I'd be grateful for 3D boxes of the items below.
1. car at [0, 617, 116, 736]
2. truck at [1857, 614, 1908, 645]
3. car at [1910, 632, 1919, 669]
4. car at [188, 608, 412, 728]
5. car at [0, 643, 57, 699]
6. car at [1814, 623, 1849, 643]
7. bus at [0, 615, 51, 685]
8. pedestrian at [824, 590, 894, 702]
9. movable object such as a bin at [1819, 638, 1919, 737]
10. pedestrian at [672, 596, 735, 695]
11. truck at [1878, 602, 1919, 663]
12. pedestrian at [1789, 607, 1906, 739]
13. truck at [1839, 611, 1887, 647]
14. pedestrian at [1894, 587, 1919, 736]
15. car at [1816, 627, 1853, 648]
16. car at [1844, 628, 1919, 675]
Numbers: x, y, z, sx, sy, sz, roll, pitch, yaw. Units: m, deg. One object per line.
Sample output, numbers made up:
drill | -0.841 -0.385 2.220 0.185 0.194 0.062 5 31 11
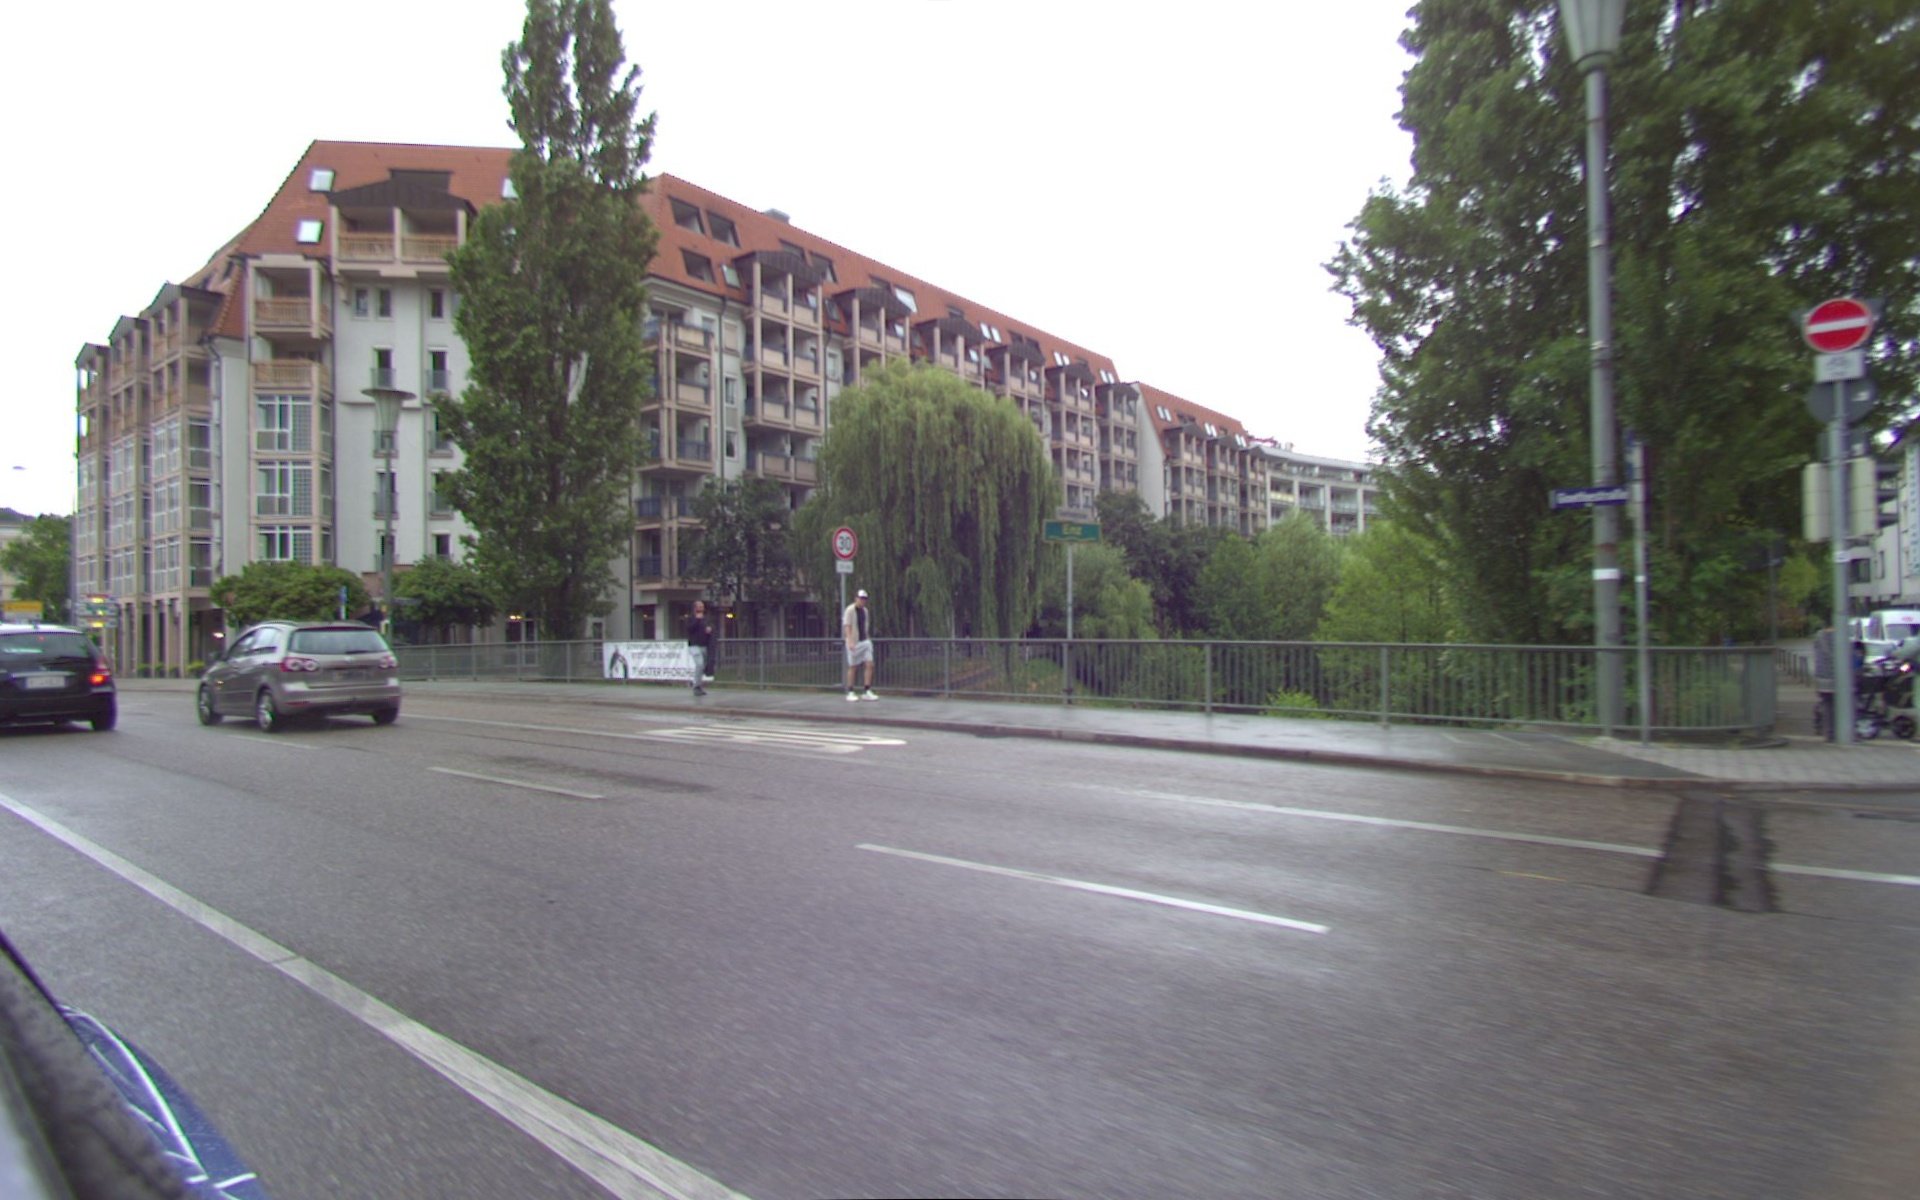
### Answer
car | -14.372 1.120 15.279 3.914 1.614 1.720 -2 -3 38
truck | 48.798 1.550 53.579 1.597 1.522 3.555 -2 -1 37
car | 41.423 2.126 42.490 1.897 1.398 3.948 -2 -1 39
car | -10.204 1.007 15.552 3.914 1.614 1.720 -2 -3 38
car | -28.171 2.037 29.515 4.811 1.521 1.819 -2 -2 37
car | 69.108 2.583 80.310 1.897 1.398 3.948 -2 -1 39
bus | -47.718 2.601 49.433 12.218 3.099 2.718 -4 -6 38
pedestrian | -1.692 0.752 16.971 0.812 1.807 0.789 -2 -1 40
movable object such as a bin | 11.099 1.036 12.161 0.786 1.120 0.886 1 -1 -11
pedestrian | -4.887 0.854 19.252 0.957 1.807 0.691 -2 -1 39
truck | 44.444 1.475 47.083 2.103 2.648 4.601 -2 -1 37
pedestrian | 10.184 0.811 11.630 0.643 1.456 0.802 1 -1 -23
truck | 55.667 1.772 62.459 1.897 2.001 5.313 -2 -1 39
pedestrian | 11.227 0.698 11.442 0.787 1.676 0.623 1 -1 -9
car | 65.770 2.815 76.187 1.897 1.398 3.948 -2 -1 39
car | 31.049 1.702 34.051 1.721 1.398 3.948 -2 -1 39
